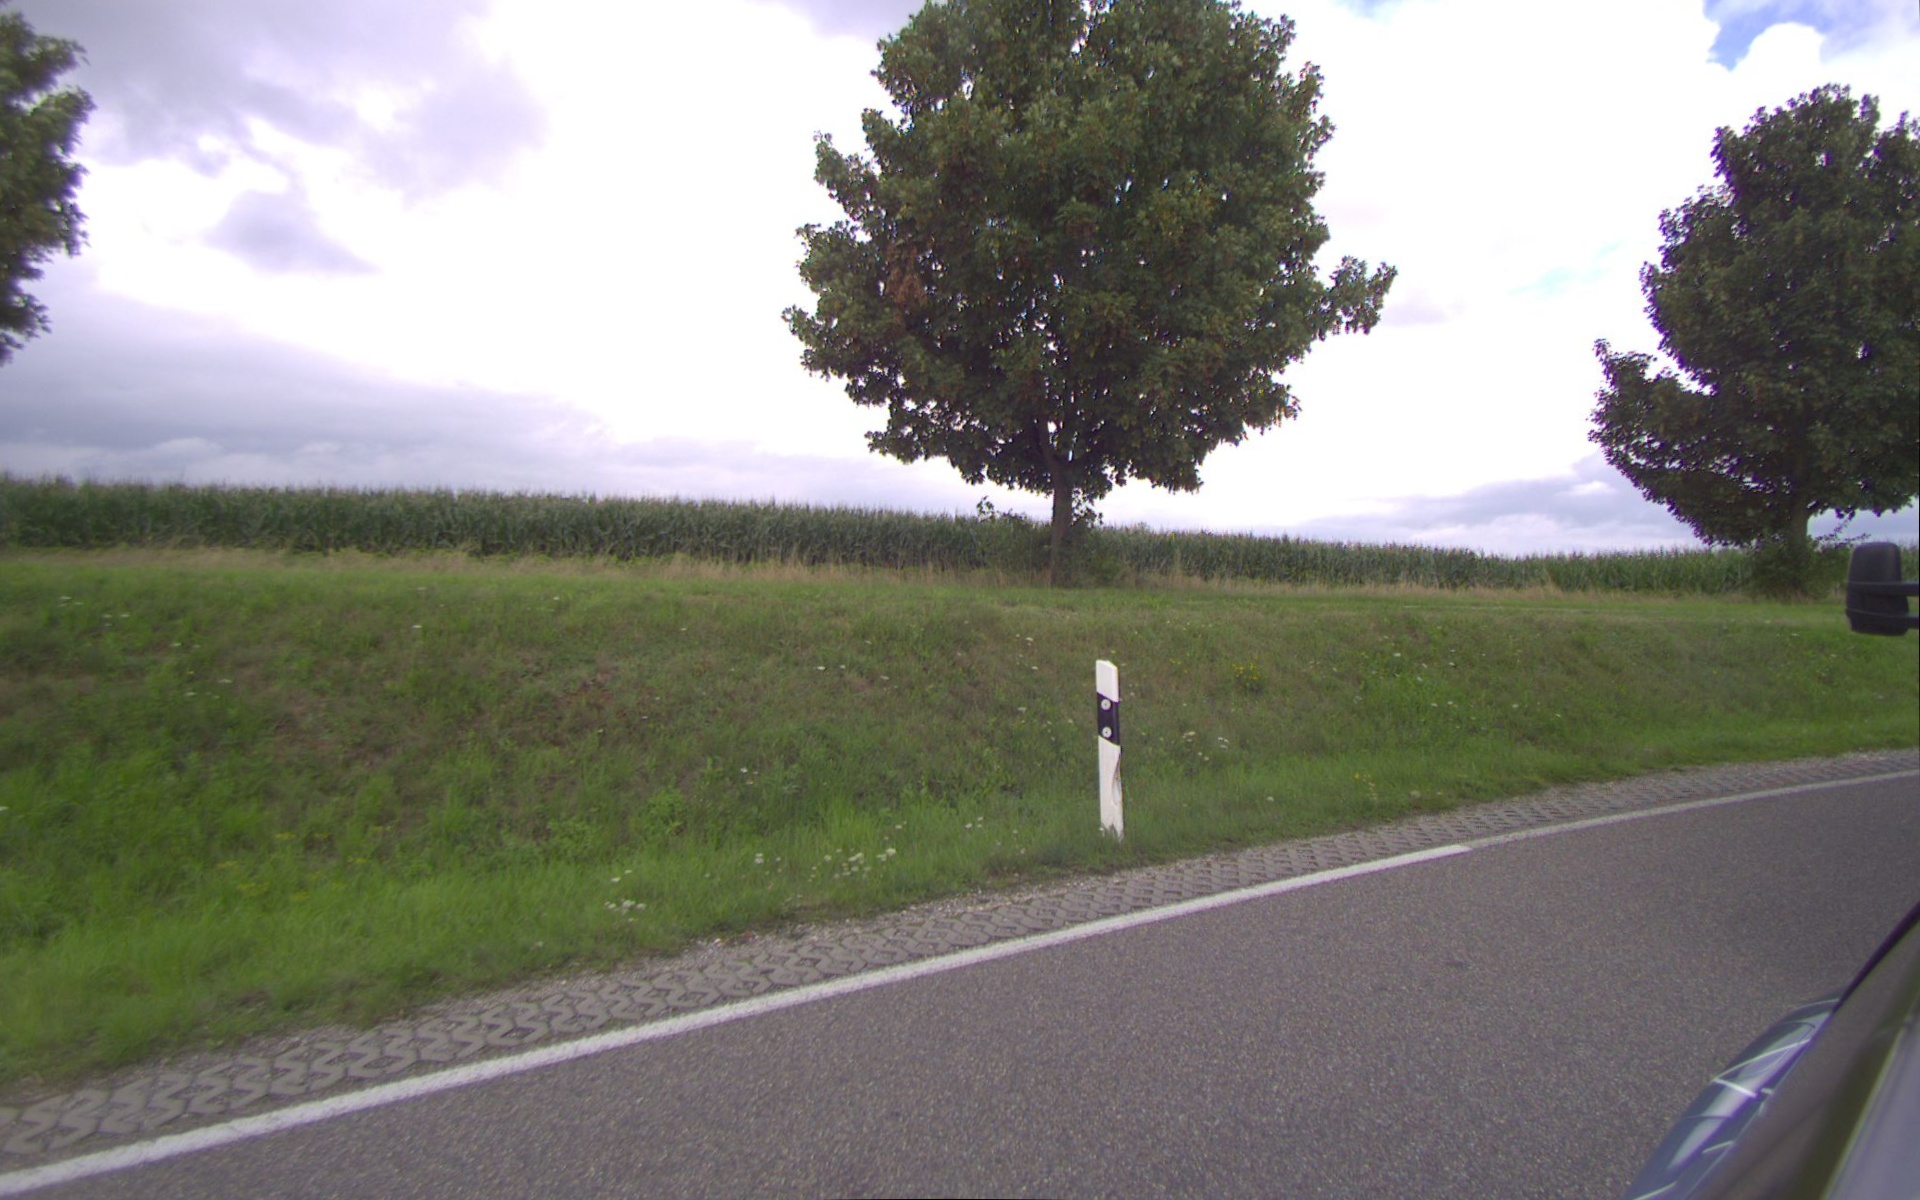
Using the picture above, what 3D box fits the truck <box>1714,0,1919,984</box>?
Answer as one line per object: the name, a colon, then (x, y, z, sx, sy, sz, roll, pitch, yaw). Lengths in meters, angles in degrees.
truck: (7.192, -0.637, 4.575, 8.623, 3.810, 2.843, 1, 1, -30)
